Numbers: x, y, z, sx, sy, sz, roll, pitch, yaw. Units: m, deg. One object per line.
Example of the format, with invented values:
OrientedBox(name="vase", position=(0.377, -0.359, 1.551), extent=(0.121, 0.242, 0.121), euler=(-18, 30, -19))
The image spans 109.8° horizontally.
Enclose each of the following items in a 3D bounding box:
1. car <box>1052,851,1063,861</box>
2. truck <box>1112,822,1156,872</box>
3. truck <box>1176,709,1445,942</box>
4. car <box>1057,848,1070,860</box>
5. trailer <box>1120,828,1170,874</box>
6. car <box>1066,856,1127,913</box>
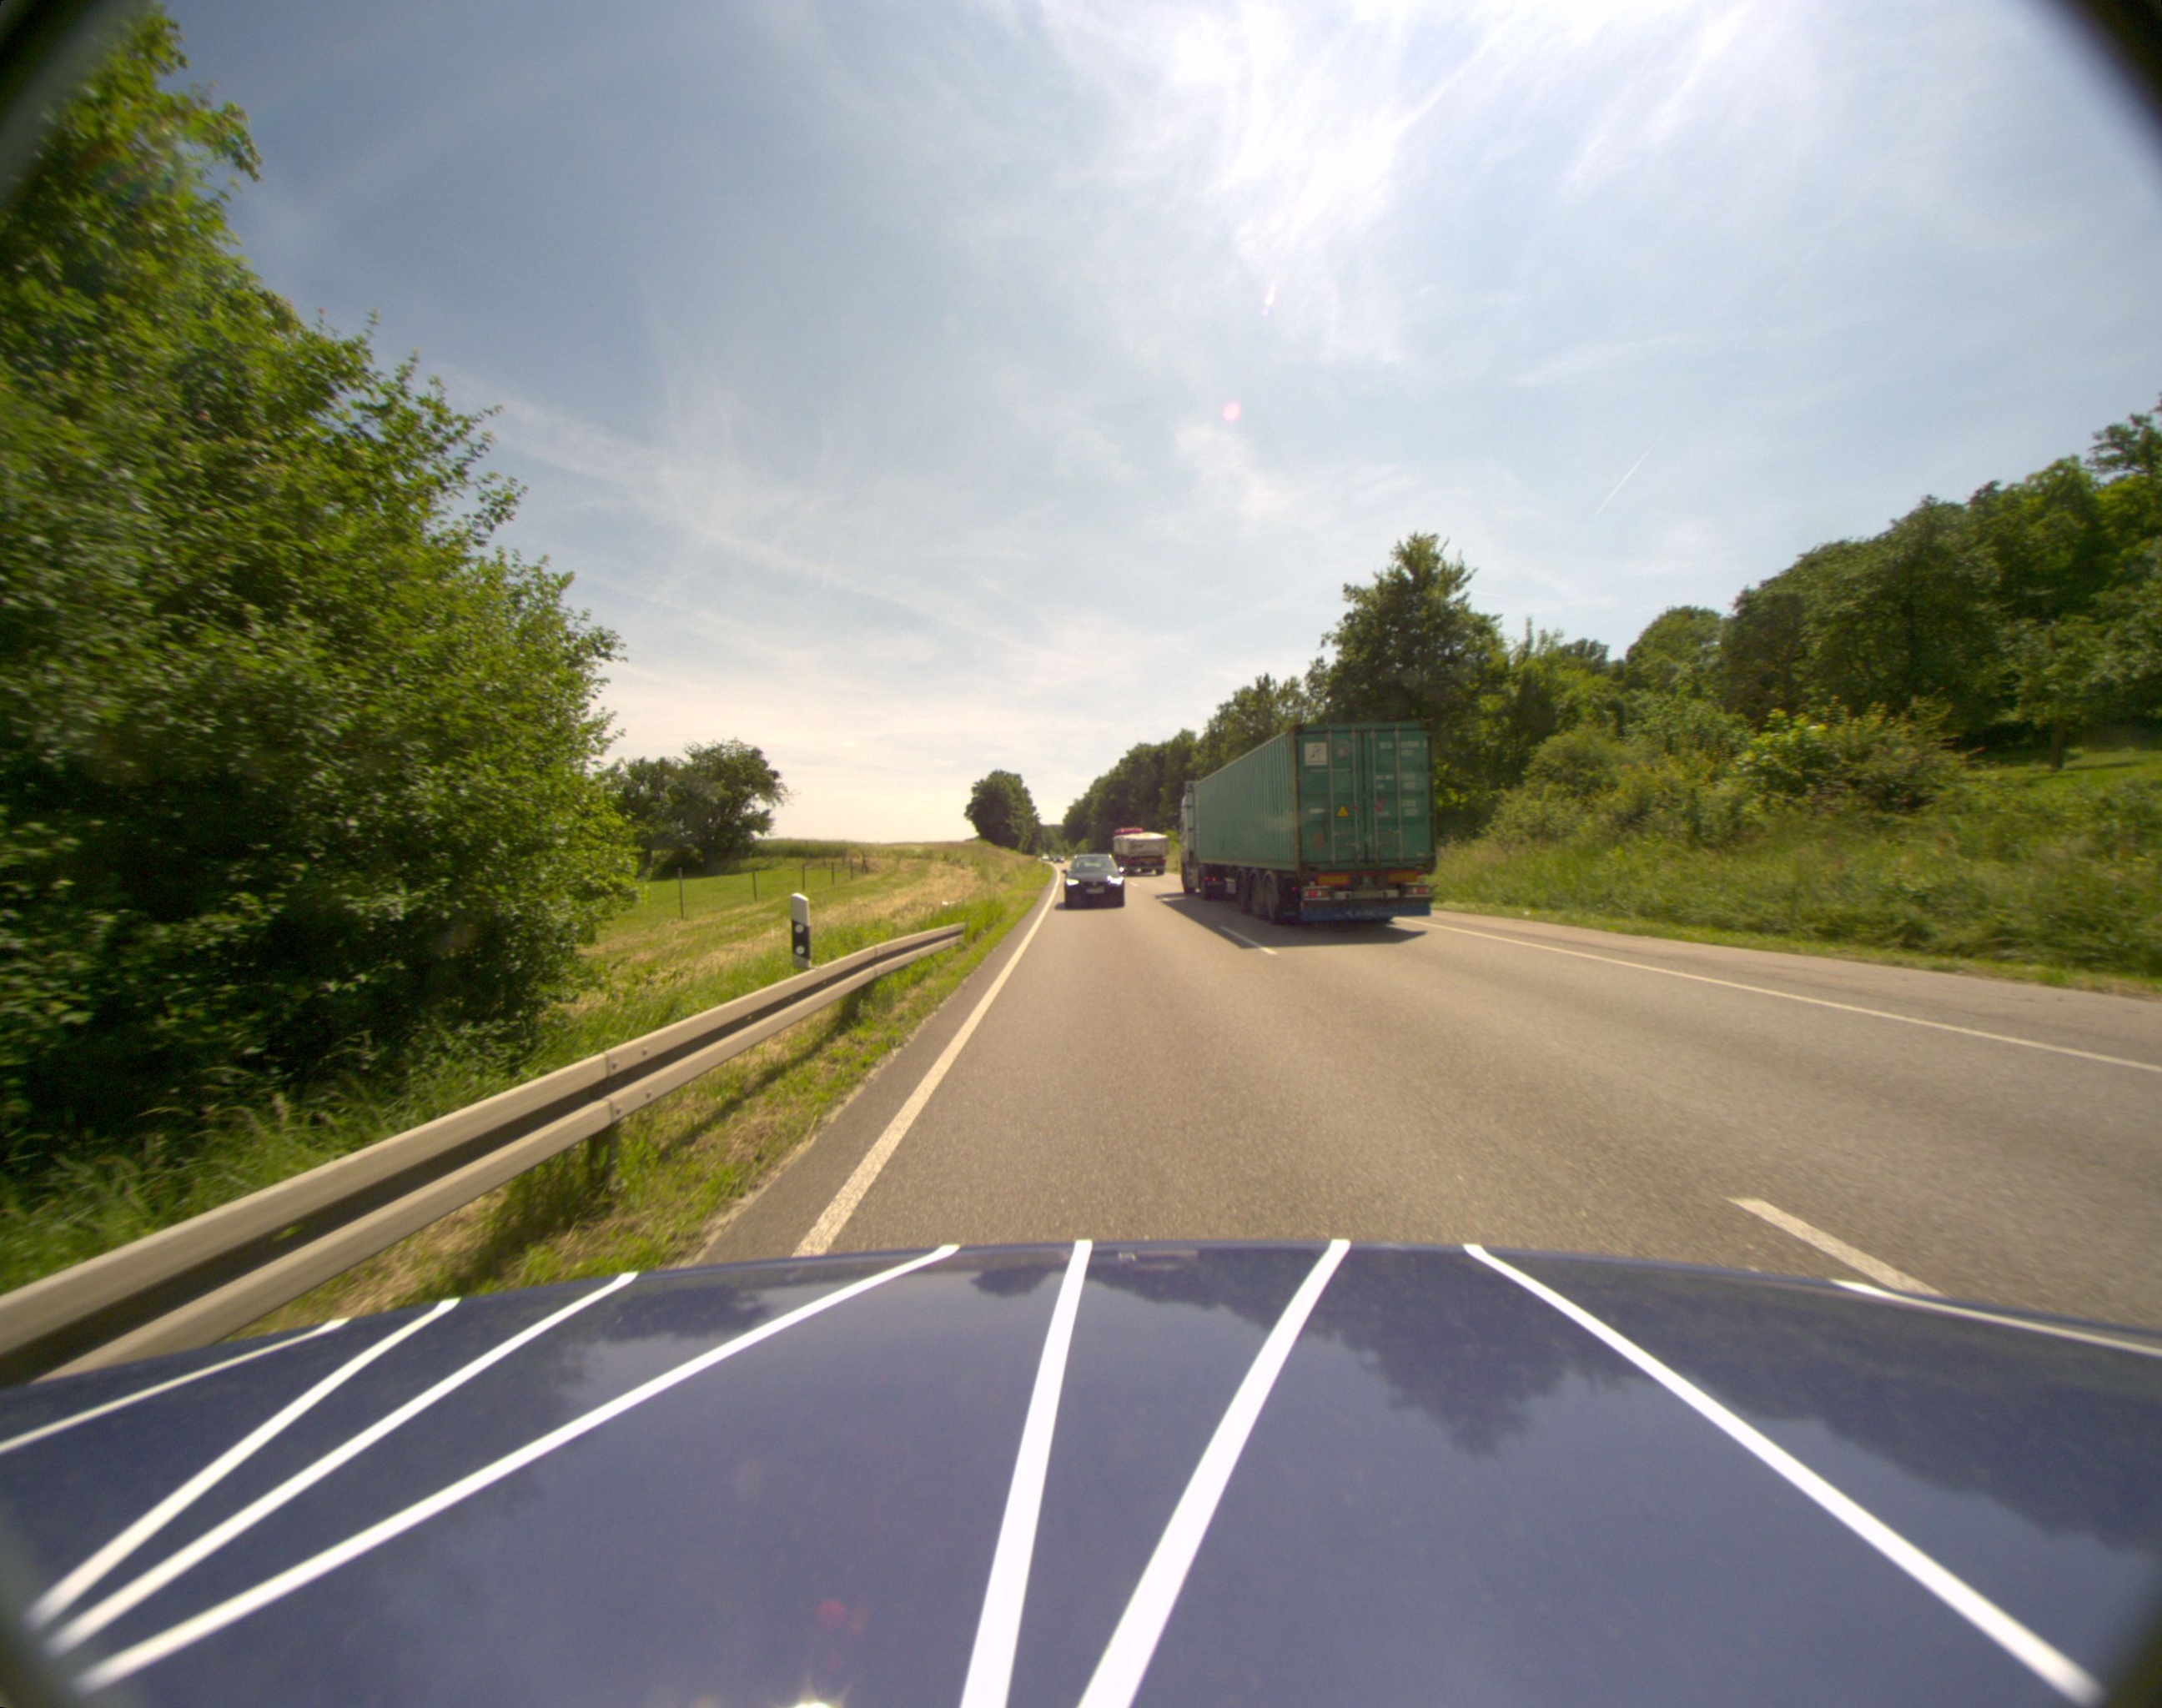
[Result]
OrientedBox(name="car", position=(-5.224, 0.380, 167.604), extent=(1.999, 2.002, 3.998), euler=(-3, 1, -6))
OrientedBox(name="truck", position=(4.033, -0.529, 59.028), extent=(2.537, 3.539, 7.759), euler=(-1, 1, -2))
OrientedBox(name="truck", position=(4.944, -0.480, 21.102), extent=(2.567, 3.916, 16.160), euler=(-2, 0, 0))
OrientedBox(name="car", position=(-3.049, -0.008, 132.850), extent=(1.999, 2.002, 3.998), euler=(-3, 1, -4))
OrientedBox(name="trailer", position=(4.255, -0.208, 52.039), extent=(2.650, 2.856, 7.075), euler=(-1, 1, -1))
OrientedBox(name="car", position=(0.423, 0.845, 22.775), extent=(1.662, 1.531, 3.486), euler=(-1, 0, 0))
